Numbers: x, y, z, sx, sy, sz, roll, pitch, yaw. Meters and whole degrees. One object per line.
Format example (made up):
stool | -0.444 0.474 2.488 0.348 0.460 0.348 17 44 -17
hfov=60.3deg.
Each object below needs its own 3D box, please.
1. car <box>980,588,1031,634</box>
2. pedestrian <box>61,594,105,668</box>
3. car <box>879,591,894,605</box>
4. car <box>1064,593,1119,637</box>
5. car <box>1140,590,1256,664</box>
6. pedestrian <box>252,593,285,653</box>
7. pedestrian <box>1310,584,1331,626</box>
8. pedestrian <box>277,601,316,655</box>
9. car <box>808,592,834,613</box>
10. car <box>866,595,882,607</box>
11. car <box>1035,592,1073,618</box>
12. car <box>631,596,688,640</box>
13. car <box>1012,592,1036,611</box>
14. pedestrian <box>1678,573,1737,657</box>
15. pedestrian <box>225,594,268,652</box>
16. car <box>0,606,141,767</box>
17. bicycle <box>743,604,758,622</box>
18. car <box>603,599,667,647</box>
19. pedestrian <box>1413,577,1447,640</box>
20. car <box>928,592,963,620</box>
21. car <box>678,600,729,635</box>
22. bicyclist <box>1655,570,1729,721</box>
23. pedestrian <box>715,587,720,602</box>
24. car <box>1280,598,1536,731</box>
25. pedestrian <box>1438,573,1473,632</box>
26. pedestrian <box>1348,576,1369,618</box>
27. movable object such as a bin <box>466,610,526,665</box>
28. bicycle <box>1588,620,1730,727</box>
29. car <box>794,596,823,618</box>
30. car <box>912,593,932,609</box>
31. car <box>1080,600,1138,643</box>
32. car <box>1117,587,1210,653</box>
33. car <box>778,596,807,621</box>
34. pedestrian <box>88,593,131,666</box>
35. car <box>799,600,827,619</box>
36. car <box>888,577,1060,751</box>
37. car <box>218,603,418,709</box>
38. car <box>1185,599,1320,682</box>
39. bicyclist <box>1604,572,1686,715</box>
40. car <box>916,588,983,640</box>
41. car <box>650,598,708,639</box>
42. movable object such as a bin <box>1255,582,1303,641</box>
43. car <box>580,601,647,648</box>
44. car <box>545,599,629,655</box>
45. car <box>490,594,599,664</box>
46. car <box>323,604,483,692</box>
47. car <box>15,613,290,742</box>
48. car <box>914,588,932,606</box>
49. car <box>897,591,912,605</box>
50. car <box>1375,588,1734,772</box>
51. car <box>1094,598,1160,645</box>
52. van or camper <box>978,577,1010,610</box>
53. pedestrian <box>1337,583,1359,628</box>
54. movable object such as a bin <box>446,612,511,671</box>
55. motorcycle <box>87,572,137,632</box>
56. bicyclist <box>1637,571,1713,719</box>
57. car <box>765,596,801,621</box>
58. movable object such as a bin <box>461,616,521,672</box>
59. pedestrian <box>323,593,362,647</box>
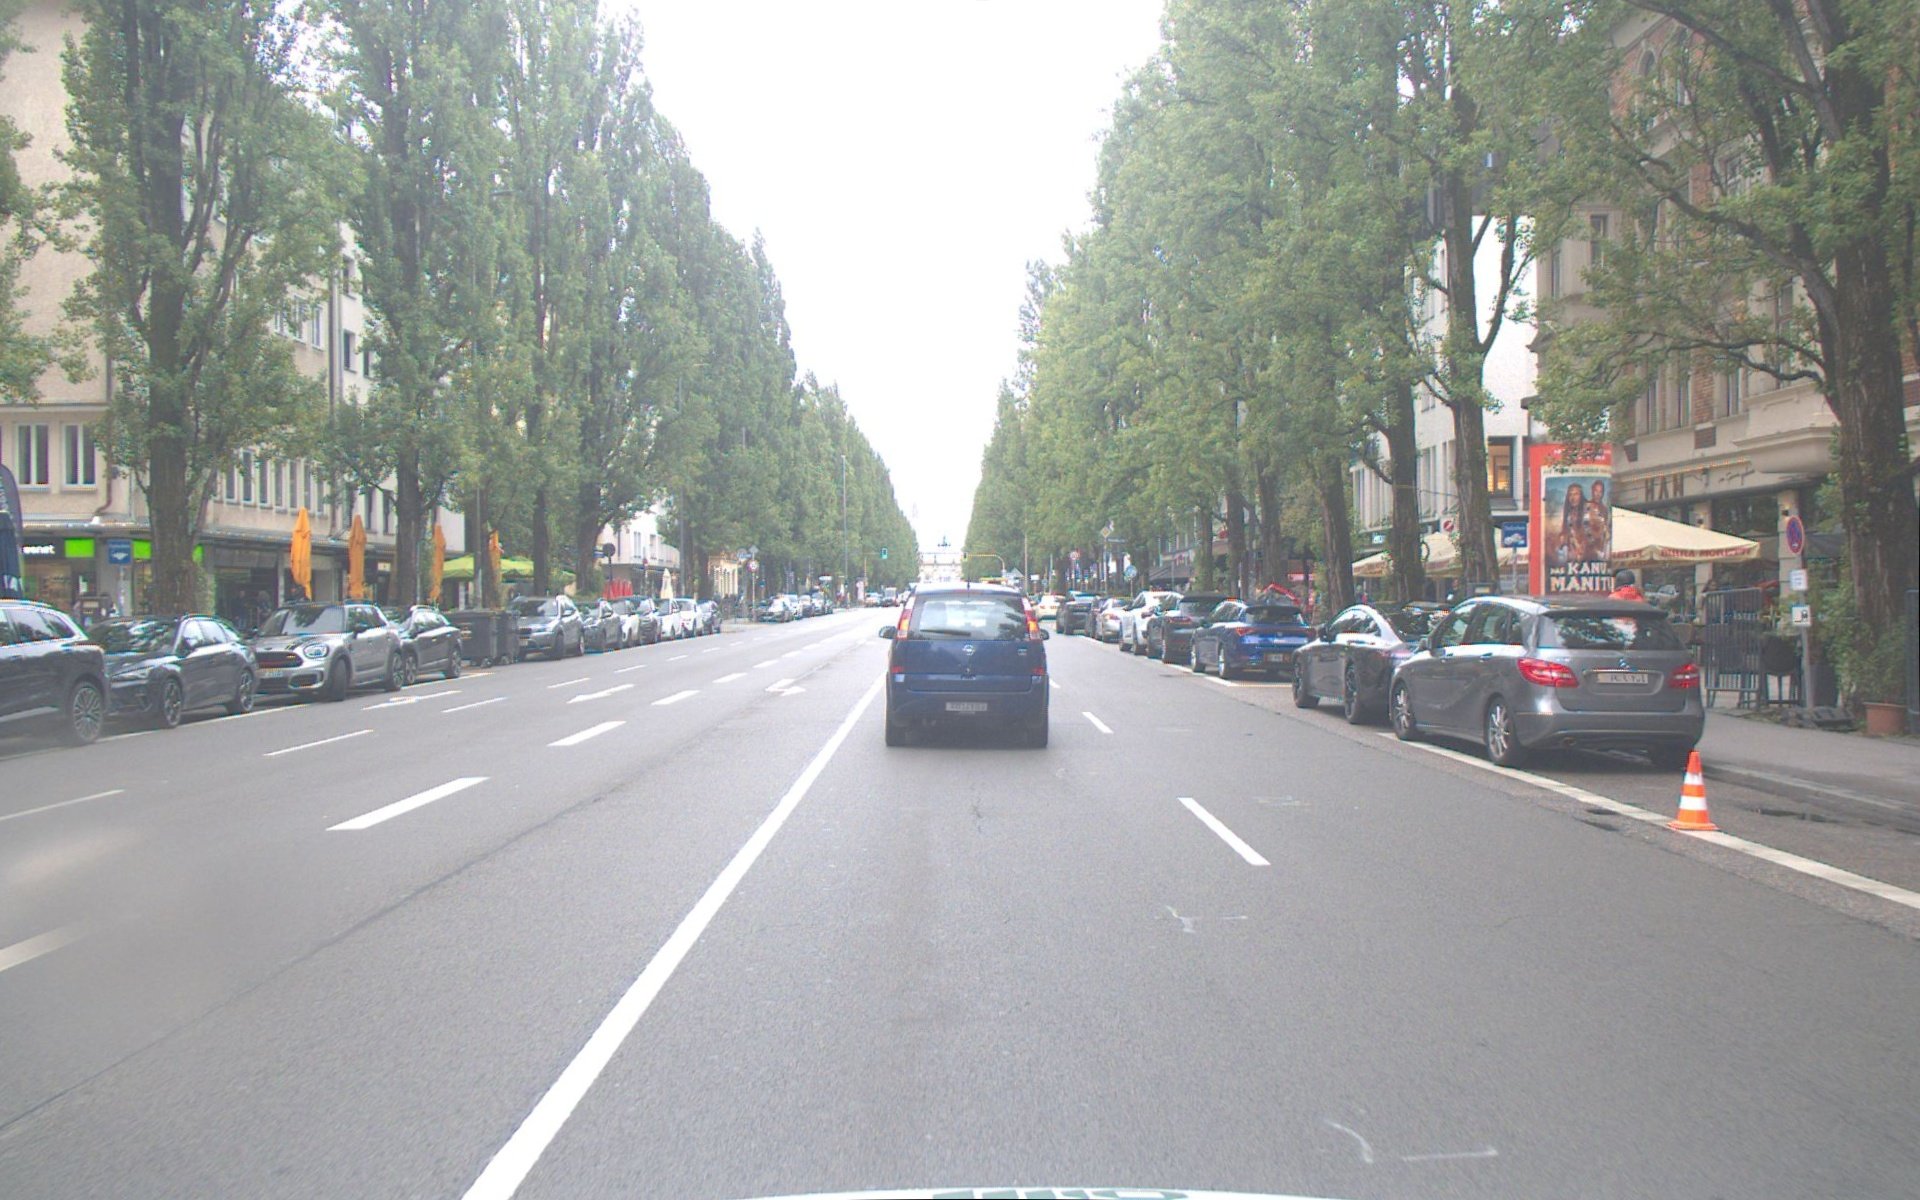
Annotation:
car | 1.623 0.395 60.273 1.671 1.601 3.999 -1 0 -1
pedestrian | -21.160 0.736 39.931 0.612 1.752 0.826 -1 0 -2
car | -9.469 -0.271 212.479 1.798 1.769 3.778 -1 0 -1
car | 5.030 0.554 63.815 1.761 1.621 4.104 1 0 0
car | 5.456 0.579 38.482 1.953 1.592 4.482 -1 0 -1
pedestrian | -20.500 0.679 49.048 0.612 1.752 0.827 -1 0 0
pedestrian | 15.375 0.229 70.608 0.712 1.781 0.859 1 0 0
pedestrian | -21.923 0.914 54.673 0.834 1.775 1.148 -1 0 0
car | -11.621 0.187 138.567 1.953 1.691 3.999 -1 0 -1
car | -11.390 0.097 218.814 1.922 1.576 3.778 -1 0 -1
car | 5.150 0.269 90.833 1.858 1.386 3.899 -1 0 0
car | -11.317 0.662 62.417 1.540 1.561 2.923 -1 0 2
car | 4.846 0.133 125.807 1.635 1.376 4.104 -1 0 0
pedestrian | 15.044 0.294 33.323 0.714 1.637 0.991 -1 0 0
pedestrian | -22.379 0.717 51.880 0.834 1.775 1.148 0 0 0
car | -10.662 0.917 17.275 1.766 1.622 4.632 -2 0 2
bicycle | -11.832 0.728 93.339 0.652 1.023 2.460 -1 0 -4
car | -11.344 0.781 57.972 1.805 1.592 4.174 -1 0 -6
pedestrian | 13.907 0.255 48.940 0.714 1.834 0.931 -1 0 0
car | -0.864 0.335 96.563 1.953 1.524 3.999 -1 0 -1
car | -11.093 0.737 71.711 1.553 1.472 3.391 -1 0 2
bicyclist | 7.987 0.494 18.053 0.609 1.616 0.391 -1 0 -1
pedestrian | -19.210 -0.435 131.088 0.283 1.109 0.258 -1 0 5
car | 5.557 0.732 21.202 1.840 1.457 4.803 -1 0 -2
pedestrian | 14.655 0.078 48.925 0.714 1.706 0.931 -1 0 0
pedestrian | 15.861 -0.112 65.837 0.640 1.655 0.704 -1 0 -3
movable object such as a bin | -11.720 0.937 41.807 1.287 1.340 0.819 -1 0 -2
bicycle | 7.975 0.806 18.988 0.614 1.106 2.263 -1 0 -1
car | -11.189 0.522 122.256 1.922 1.557 3.998 -1 0 -2
car | -3.628 0.082 158.789 1.922 1.424 3.778 -1 0 -1
car | 5.264 0.746 58.901 1.648 1.439 3.582 1 0 -1
car | 5.316 0.499 43.761 1.790 1.649 4.746 0 0 -1
car | -11.136 0.554 110.030 1.620 1.589 3.457 -1 0 -1
pedestrian | -20.534 0.705 39.941 0.612 1.752 0.826 -1 0 -2
car | -11.342 0.732 127.743 1.922 1.424 3.778 -1 0 -1
car | 0.088 0.603 17.869 1.647 1.670 3.999 0 0 -2
car | -10.580 0.865 27.566 1.745 1.603 4.132 -1 0 -1
car | 5.507 0.709 31.638 1.714 1.430 4.463 -1 0 -1
bicyclist | 7.964 0.497 19.240 0.609 1.616 0.753 -1 0 -1
car | -0.365 0.394 50.961 1.953 1.523 3.999 -1 0 -1
car | -11.273 0.728 66.533 1.798 1.573 4.084 -1 0 -3
movable object such as a bin | 9.632 0.327 49.968 1.012 1.733 1.585 -1 0 -4
car | -11.275 0.777 54.000 1.598 1.453 2.982 -1 0 -2
car | -11.092 0.765 49.406 1.663 1.577 4.081 -1 0 -2
car | -11.132 0.739 44.631 1.827 1.683 4.614 -3 0 -2
car | -10.943 0.895 32.804 1.629 1.530 4.313 -3 0 0
car | -10.813 0.965 22.552 1.651 1.449 4.684 -3 0 -4
car | -3.696 -0.276 165.874 1.798 1.792 3.778 -1 0 -1
car | -7.020 -0.293 209.818 1.798 1.706 3.778 -1 0 -1
car | 5.636 0.676 16.296 1.781 1.532 4.229 -1 0 -4
car | 5.413 0.668 53.961 1.636 1.431 4.126 1 0 -1
van or camper | 2.788 -0.542 136.320 2.426 2.626 5.844 -1 0 0
pedestrian | 14.620 0.211 62.339 0.640 1.655 0.704 -1 0 -3
movable object such as a bin | -11.300 0.969 38.820 1.251 1.333 0.901 -1 0 -1
motorcycle | -17.054 0.047 33.284 0.467 1.159 1.808 -1 0 -14
bicyclist | 7.984 0.495 18.480 0.609 1.616 0.481 -1 0 -1
car | -10.581 0.490 99.127 1.793 1.445 3.810 -1 0 -1
movable object such as a bin | -11.598 1.073 40.916 1.234 1.340 0.825 -1 0 -2
pedestrian | -20.630 0.648 55.279 0.834 1.775 1.148 -1 0 0
